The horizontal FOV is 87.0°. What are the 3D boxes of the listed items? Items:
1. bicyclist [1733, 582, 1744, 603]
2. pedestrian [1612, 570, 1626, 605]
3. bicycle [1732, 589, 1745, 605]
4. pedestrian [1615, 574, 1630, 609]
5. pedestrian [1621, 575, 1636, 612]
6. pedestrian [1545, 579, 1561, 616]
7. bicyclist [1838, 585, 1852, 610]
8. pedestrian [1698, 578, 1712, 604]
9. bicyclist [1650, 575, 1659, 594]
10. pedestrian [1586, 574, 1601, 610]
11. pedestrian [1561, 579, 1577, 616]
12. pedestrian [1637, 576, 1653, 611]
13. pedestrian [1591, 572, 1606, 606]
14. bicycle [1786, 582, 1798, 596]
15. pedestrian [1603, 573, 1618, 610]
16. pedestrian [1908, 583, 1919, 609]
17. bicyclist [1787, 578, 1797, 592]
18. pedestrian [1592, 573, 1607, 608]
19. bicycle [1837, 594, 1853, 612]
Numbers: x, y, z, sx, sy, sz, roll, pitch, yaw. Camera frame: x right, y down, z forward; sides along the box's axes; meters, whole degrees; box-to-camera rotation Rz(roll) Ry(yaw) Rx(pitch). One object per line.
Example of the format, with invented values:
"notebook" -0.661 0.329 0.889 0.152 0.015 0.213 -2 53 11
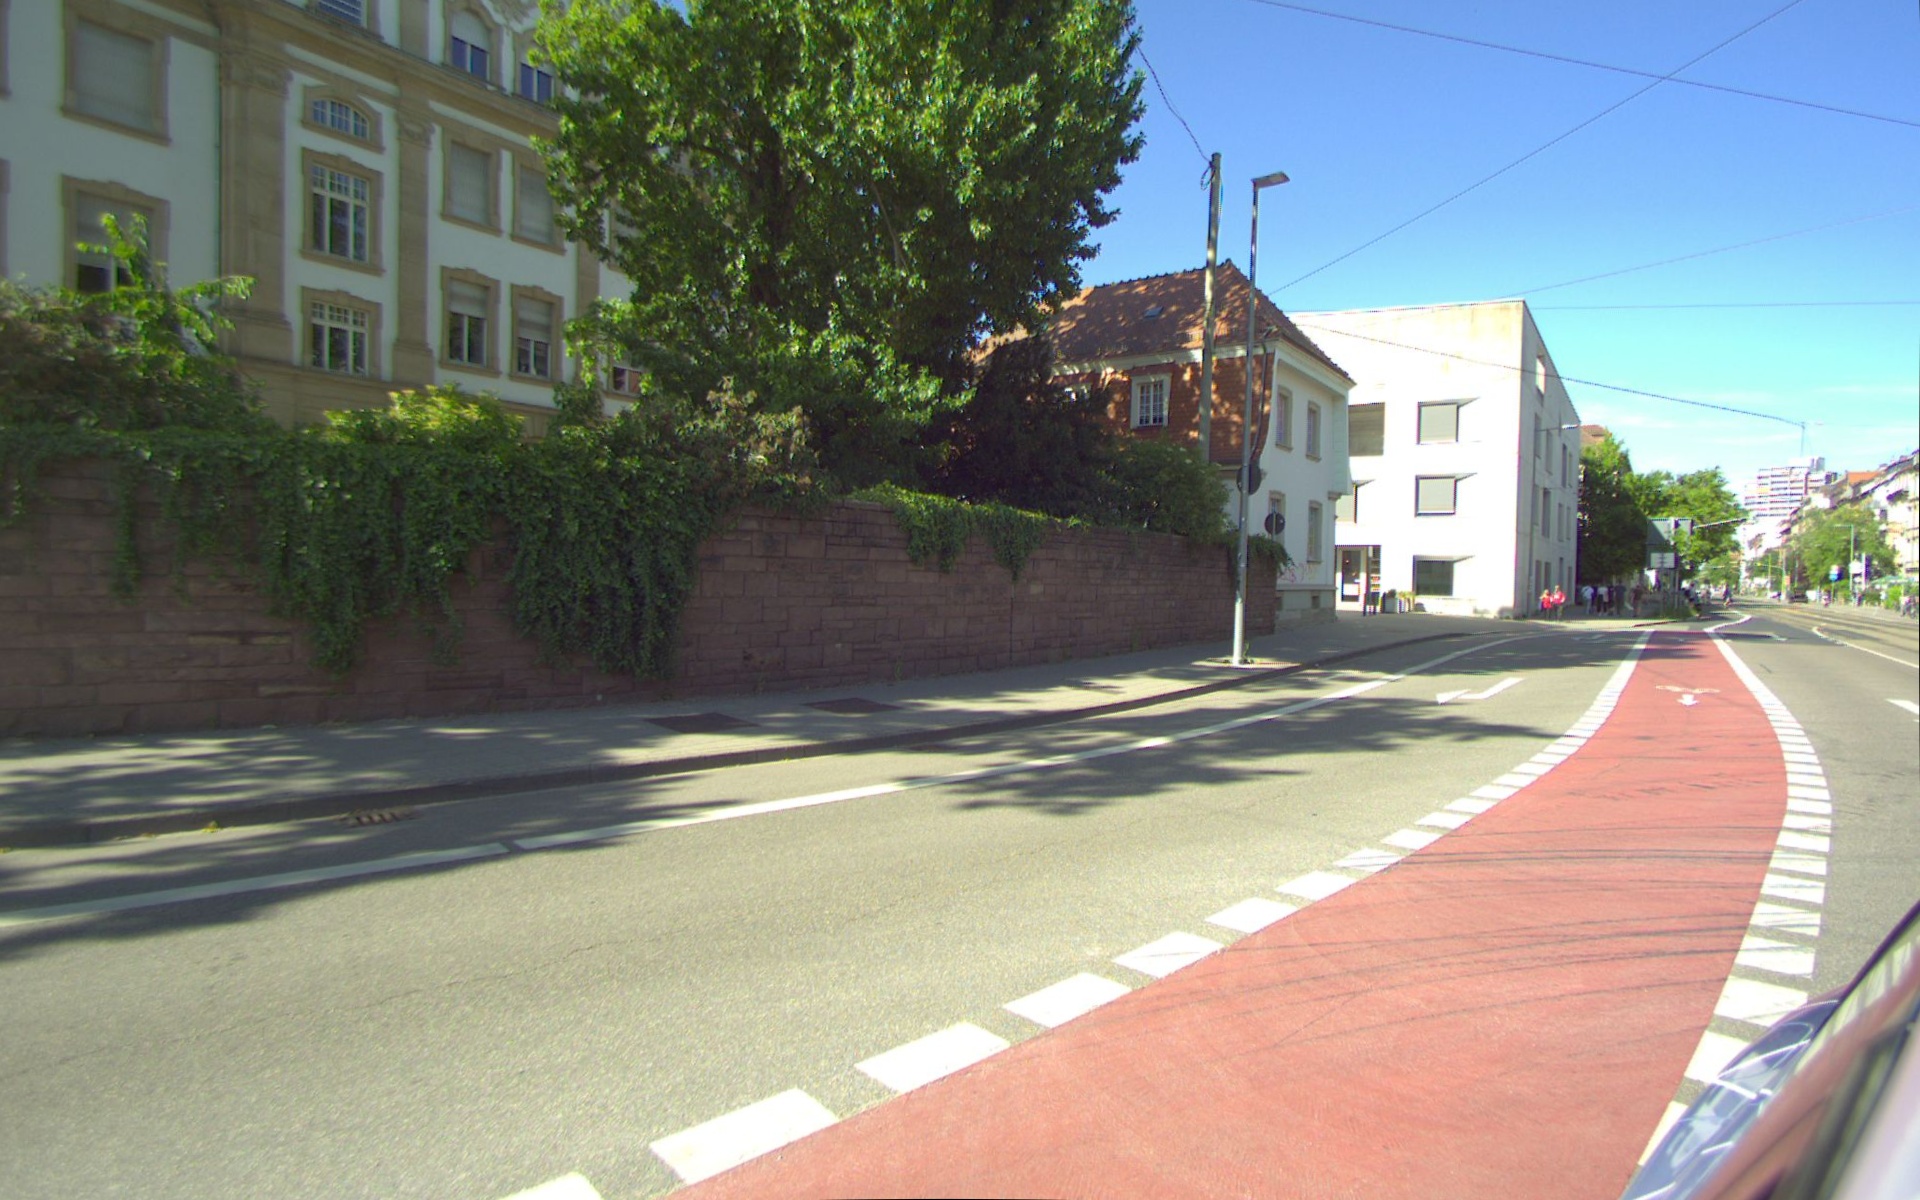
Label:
"bicyclist" 57.070 -0.559 74.185 0.663 1.480 0.613 0 1 41
"pedestrian" 35.516 -0.685 54.553 0.584 1.828 0.538 2 1 36
"bicycle" 57.086 -0.234 74.203 0.663 1.166 1.648 0 2 40
"pedestrian" 34.824 -0.445 53.173 0.584 1.828 0.575 2 1 36
"pedestrian" 33.780 -0.335 51.162 0.584 1.828 0.513 2 1 36
"pedestrian" 25.864 -0.118 44.153 0.531 1.586 0.513 2 1 36
"bicyclist" 85.094 -0.258 97.310 0.999 2.296 1.006 0 1 39
"pedestrian" 51.310 -0.604 69.681 0.675 1.759 0.919 2 2 38
"bicyclist" 81.698 -1.826 118.997 0.809 2.234 0.971 0 1 39
"pedestrian" 32.613 -0.441 52.087 0.584 1.828 0.538 2 1 36
"pedestrian" 26.351 -0.107 43.787 0.531 1.586 0.513 2 1 36
"pedestrian" 34.380 -0.336 50.798 0.584 1.749 0.513 2 1 36
"pedestrian" 34.792 -0.578 55.152 0.584 1.828 0.538 2 1 36
"bicycle" 108.469 -1.435 131.970 0.998 1.702 2.946 0 2 37
"pedestrian" 33.197 -0.437 51.634 0.584 1.828 0.538 2 1 36
"pedestrian" 69.823 -0.326 74.004 0.576 1.879 0.675 2 2 37
"bicyclist" 108.458 -1.940 131.961 0.998 1.743 0.972 0 1 37
"pedestrian" 33.928 -0.517 53.707 0.584 1.828 0.575 2 1 36
"bicycle" 85.126 0.269 97.353 0.999 1.702 2.943 0 2 39
